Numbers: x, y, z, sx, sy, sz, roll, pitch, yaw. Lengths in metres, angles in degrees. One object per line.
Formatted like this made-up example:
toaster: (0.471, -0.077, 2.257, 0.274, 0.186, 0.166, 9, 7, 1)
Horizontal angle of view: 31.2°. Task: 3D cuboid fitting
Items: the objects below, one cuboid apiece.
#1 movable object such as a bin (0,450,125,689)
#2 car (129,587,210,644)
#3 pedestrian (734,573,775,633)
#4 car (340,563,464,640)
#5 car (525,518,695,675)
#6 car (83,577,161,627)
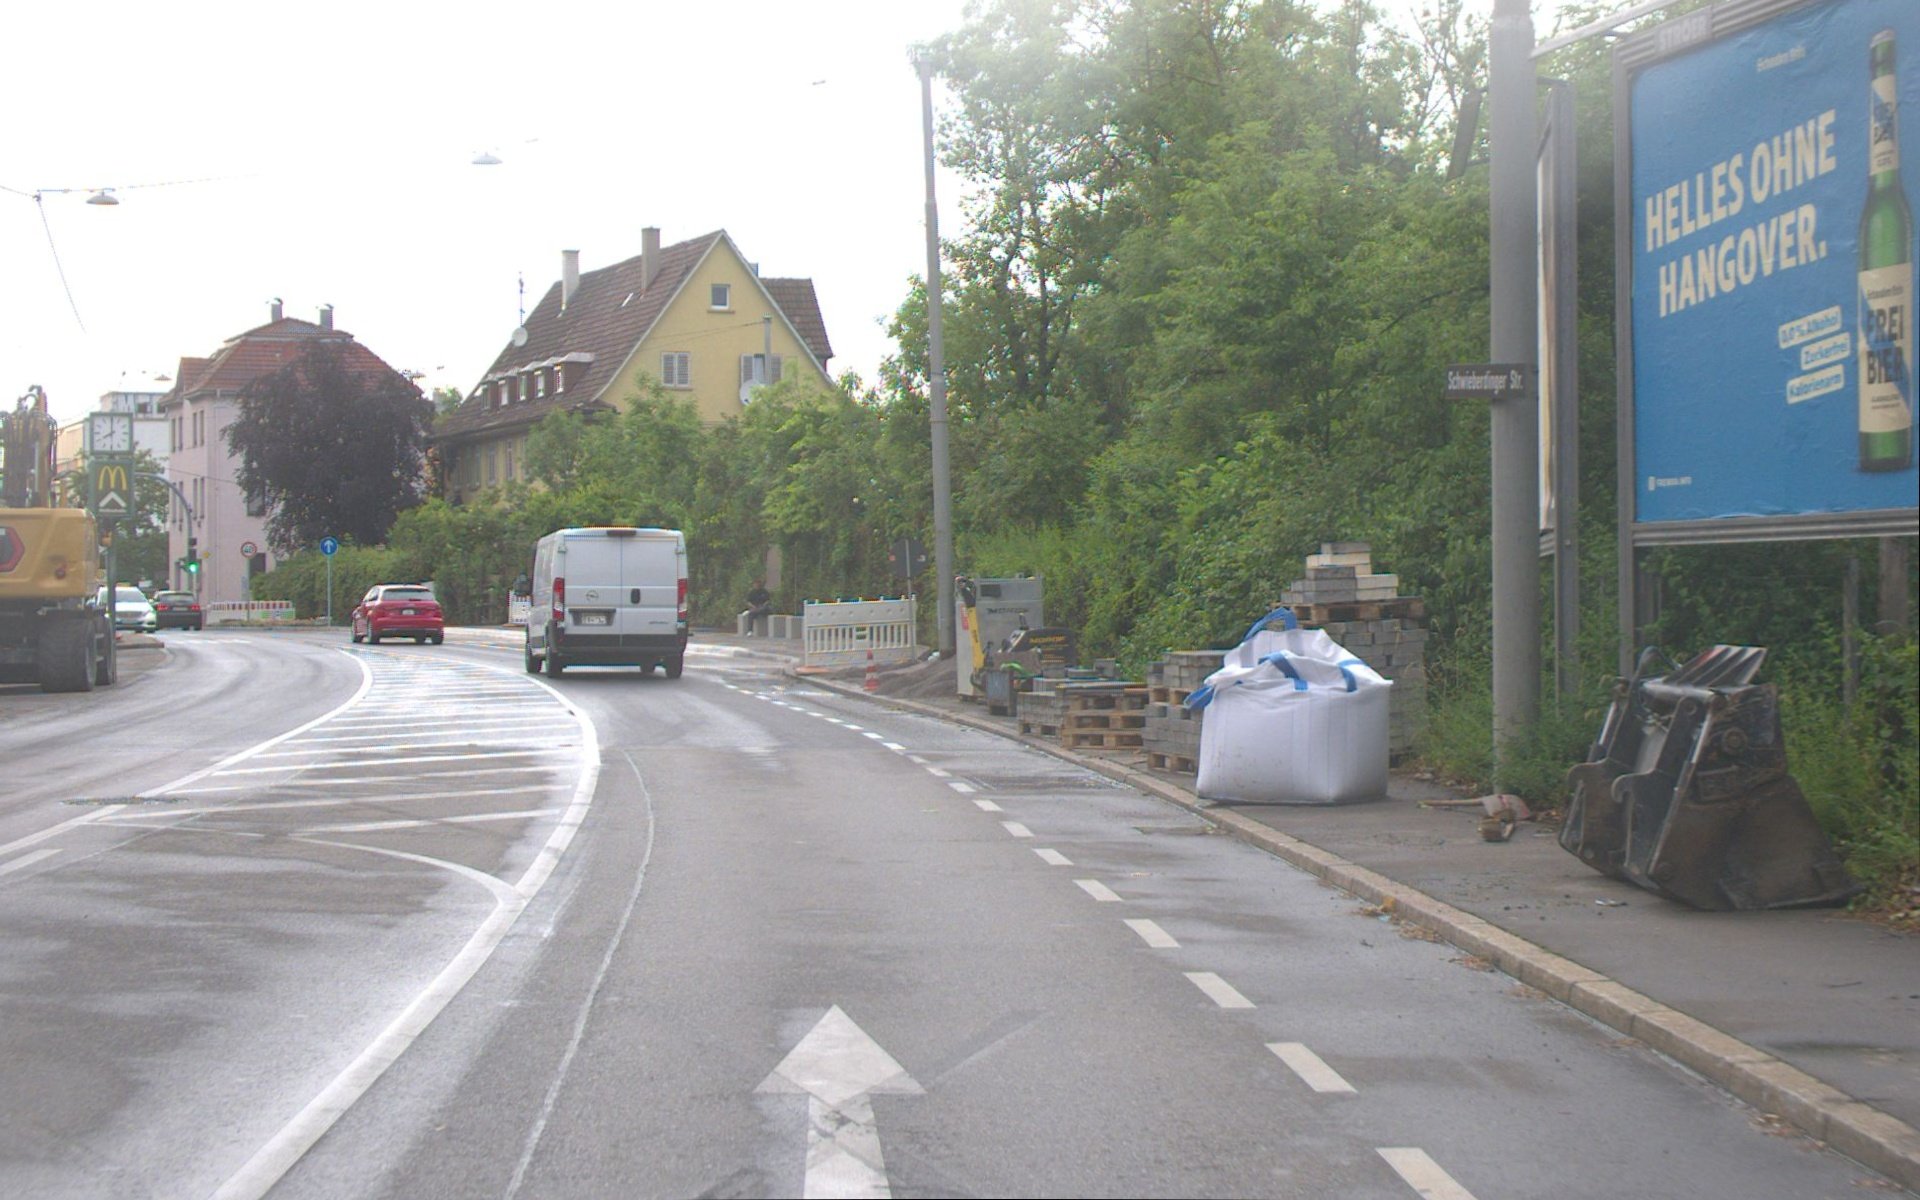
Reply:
movable object such as a bin: (-13.280, -0.494, 47.713, 2.870, 3.162, 4.127, 1, 2, -8)
car: (-28.185, 0.553, 122.510, 2.237, 1.798, 4.715, 1, 2, -20)
pedestrian: (-4.844, 0.064, 80.965, 0.878, 1.363, 1.066, 1, 2, -7)
car: (-13.526, 0.012, 83.092, 2.237, 1.651, 4.715, 1, 2, -18)
car: (-5.436, -0.105, 52.842, 2.237, 2.205, 4.715, 1, 2, -10)
car: (-26.995, 0.081, 110.706, 1.928, 1.550, 4.621, 1, -1, -20)
